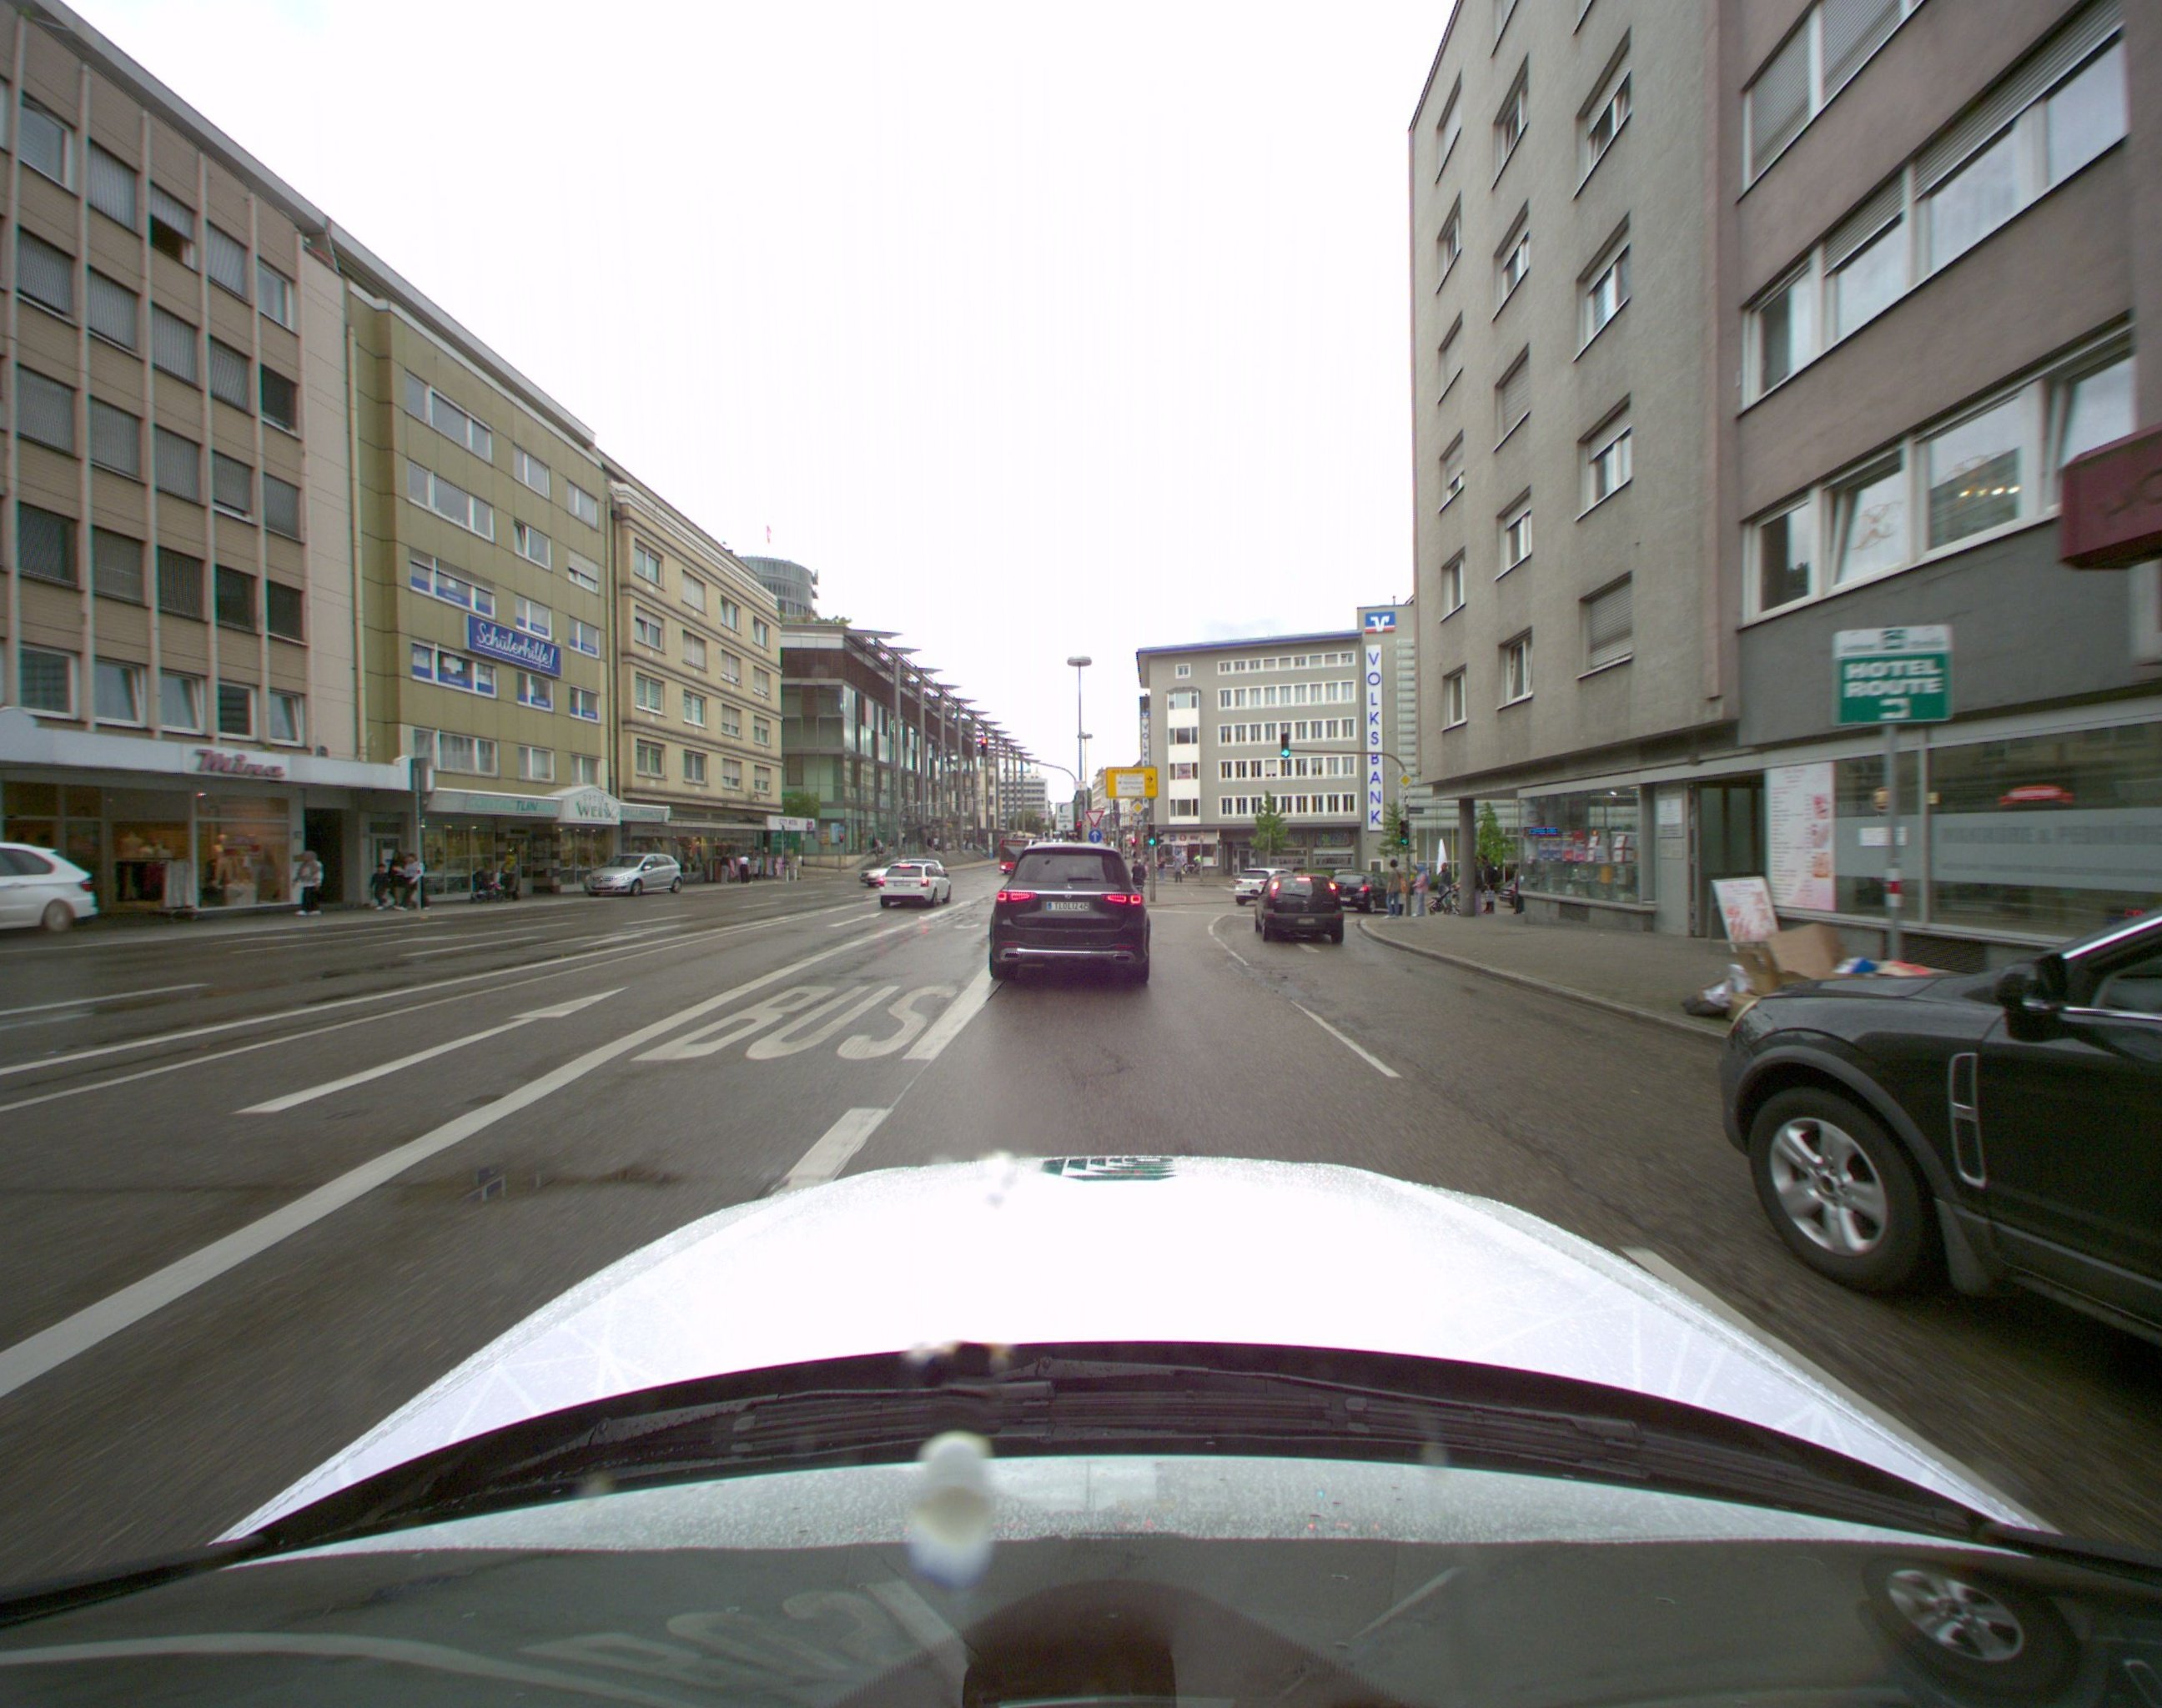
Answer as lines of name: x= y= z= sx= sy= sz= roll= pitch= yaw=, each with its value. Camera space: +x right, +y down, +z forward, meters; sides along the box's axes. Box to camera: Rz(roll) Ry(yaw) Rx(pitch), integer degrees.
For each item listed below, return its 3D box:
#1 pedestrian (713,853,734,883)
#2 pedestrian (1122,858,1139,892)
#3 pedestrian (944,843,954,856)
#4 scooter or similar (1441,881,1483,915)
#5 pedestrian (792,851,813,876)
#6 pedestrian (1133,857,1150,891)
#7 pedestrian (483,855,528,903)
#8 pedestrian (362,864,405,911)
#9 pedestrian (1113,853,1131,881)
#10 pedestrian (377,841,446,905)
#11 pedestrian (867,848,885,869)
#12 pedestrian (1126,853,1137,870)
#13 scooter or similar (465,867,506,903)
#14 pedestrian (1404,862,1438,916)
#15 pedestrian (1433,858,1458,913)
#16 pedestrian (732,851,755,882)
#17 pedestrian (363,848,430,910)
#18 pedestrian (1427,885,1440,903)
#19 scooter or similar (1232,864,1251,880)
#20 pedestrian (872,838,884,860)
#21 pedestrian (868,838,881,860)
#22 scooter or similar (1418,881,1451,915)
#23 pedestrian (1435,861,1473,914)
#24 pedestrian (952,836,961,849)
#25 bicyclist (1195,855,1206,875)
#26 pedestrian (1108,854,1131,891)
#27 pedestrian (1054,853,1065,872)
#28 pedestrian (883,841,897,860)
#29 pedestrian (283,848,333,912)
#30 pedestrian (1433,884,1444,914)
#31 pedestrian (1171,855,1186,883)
pedestrian: x=-18.686 y=0.708 z=42.586 sx=0.782 sy=1.537 sz=0.681 roll=1 pitch=0 yaw=-1
pedestrian: x=2.286 y=0.955 z=37.221 sx=0.701 sy=1.488 sz=0.561 roll=2 pitch=-1 yaw=6
pedestrian: x=-16.619 y=-0.555 z=102.433 sx=1.036 sy=1.713 sz=1.006 roll=1 pitch=0 yaw=-4
scooter or similar: x=11.670 y=1.355 z=24.962 sx=0.767 sy=0.986 sz=1.048 roll=-1 pitch=-4 yaw=1
pedestrian: x=-17.630 y=0.592 z=51.610 sx=0.867 sy=1.586 sz=1.156 roll=0 pitch=0 yaw=5
pedestrian: x=2.914 y=0.946 z=39.060 sx=0.709 sy=1.568 sz=0.856 roll=2 pitch=-1 yaw=6
pedestrian: x=-18.700 y=0.809 z=26.492 sx=0.664 sy=1.484 sz=1.065 roll=2 pitch=1 yaw=0
pedestrian: x=-19.342 y=0.909 z=22.606 sx=0.532 sy=1.249 sz=0.721 roll=2 pitch=1 yaw=0
pedestrian: x=2.668 y=0.818 z=52.513 sx=1.008 sy=1.787 sz=0.852 roll=2 pitch=0 yaw=-5
pedestrian: x=-18.547 y=0.498 z=22.586 sx=0.949 sy=1.714 sz=1.090 roll=2 pitch=1 yaw=0
pedestrian: x=-17.359 y=0.376 z=68.937 sx=1.029 sy=1.713 sz=1.014 roll=1 pitch=0 yaw=29
pedestrian: x=5.336 y=0.825 z=85.884 sx=1.020 sy=1.775 sz=0.798 roll=2 pitch=0 yaw=-4
scooter or similar: x=-18.724 y=0.973 z=25.607 sx=0.734 sy=1.054 sz=0.701 roll=2 pitch=1 yaw=0
pedestrian: x=10.528 y=1.098 z=25.251 sx=0.736 sy=1.635 sz=0.600 roll=-5 pitch=-6 yaw=43
pedestrian: x=12.887 y=1.132 z=28.810 sx=0.611 sy=1.868 sz=0.790 roll=-3 pitch=-5 yaw=17
pedestrian: x=-17.672 y=0.654 z=42.624 sx=0.850 sy=1.628 sz=0.765 roll=2 pitch=0 yaw=-42
pedestrian: x=-19.679 y=0.701 z=23.436 sx=0.949 sy=1.695 sz=1.086 roll=2 pitch=1 yaw=0
pedestrian: x=11.956 y=1.364 z=27.632 sx=0.368 sy=0.571 sz=0.461 roll=-2 pitch=-2 yaw=21
scooter or similar: x=12.074 y=1.378 z=61.311 sx=1.368 sy=1.187 sz=0.547 roll=0 pitch=-1 yaw=21
pedestrian: x=-18.886 y=-0.487 z=75.735 sx=0.872 sy=1.980 sz=0.850 roll=1 pitch=0 yaw=1
pedestrian: x=-18.944 y=-0.482 z=74.800 sx=0.877 sy=1.980 sz=0.975 roll=1 pitch=0 yaw=1
scooter or similar: x=11.962 y=1.488 z=27.598 sx=0.961 sy=1.109 sz=0.658 roll=-2 pitch=-2 yaw=21
pedestrian: x=12.540 y=1.118 z=27.387 sx=1.027 sy=1.723 sz=0.842 roll=-2 pitch=-1 yaw=18
pedestrian: x=-17.050 y=-1.546 z=111.565 sx=1.036 sy=1.713 sz=1.006 roll=1 pitch=0 yaw=-4
bicyclist: x=10.084 y=0.912 z=68.581 sx=0.838 sy=1.704 sz=0.625 roll=0 pitch=-1 yaw=16
pedestrian: x=1.803 y=0.852 z=38.127 sx=0.973 sy=1.672 sz=0.917 roll=2 pitch=0 yaw=7
pedestrian: x=-2.292 y=0.882 z=85.736 sx=0.949 sy=1.886 sz=0.812 roll=2 pitch=0 yaw=8
pedestrian: x=-17.176 y=-0.322 z=73.237 sx=1.036 sy=1.713 sz=1.006 roll=1 pitch=0 yaw=-4
pedestrian: x=-19.329 y=0.644 z=20.371 sx=0.639 sy=1.574 sz=0.612 roll=0 pitch=-1 yaw=2
pedestrian: x=12.331 y=1.536 z=28.061 sx=0.258 sy=1.000 sz=0.475 roll=-5 pitch=-3 yaw=24
pedestrian: x=6.374 y=0.960 z=53.106 sx=0.828 sy=1.778 sz=0.616 roll=2 pitch=0 yaw=-4
